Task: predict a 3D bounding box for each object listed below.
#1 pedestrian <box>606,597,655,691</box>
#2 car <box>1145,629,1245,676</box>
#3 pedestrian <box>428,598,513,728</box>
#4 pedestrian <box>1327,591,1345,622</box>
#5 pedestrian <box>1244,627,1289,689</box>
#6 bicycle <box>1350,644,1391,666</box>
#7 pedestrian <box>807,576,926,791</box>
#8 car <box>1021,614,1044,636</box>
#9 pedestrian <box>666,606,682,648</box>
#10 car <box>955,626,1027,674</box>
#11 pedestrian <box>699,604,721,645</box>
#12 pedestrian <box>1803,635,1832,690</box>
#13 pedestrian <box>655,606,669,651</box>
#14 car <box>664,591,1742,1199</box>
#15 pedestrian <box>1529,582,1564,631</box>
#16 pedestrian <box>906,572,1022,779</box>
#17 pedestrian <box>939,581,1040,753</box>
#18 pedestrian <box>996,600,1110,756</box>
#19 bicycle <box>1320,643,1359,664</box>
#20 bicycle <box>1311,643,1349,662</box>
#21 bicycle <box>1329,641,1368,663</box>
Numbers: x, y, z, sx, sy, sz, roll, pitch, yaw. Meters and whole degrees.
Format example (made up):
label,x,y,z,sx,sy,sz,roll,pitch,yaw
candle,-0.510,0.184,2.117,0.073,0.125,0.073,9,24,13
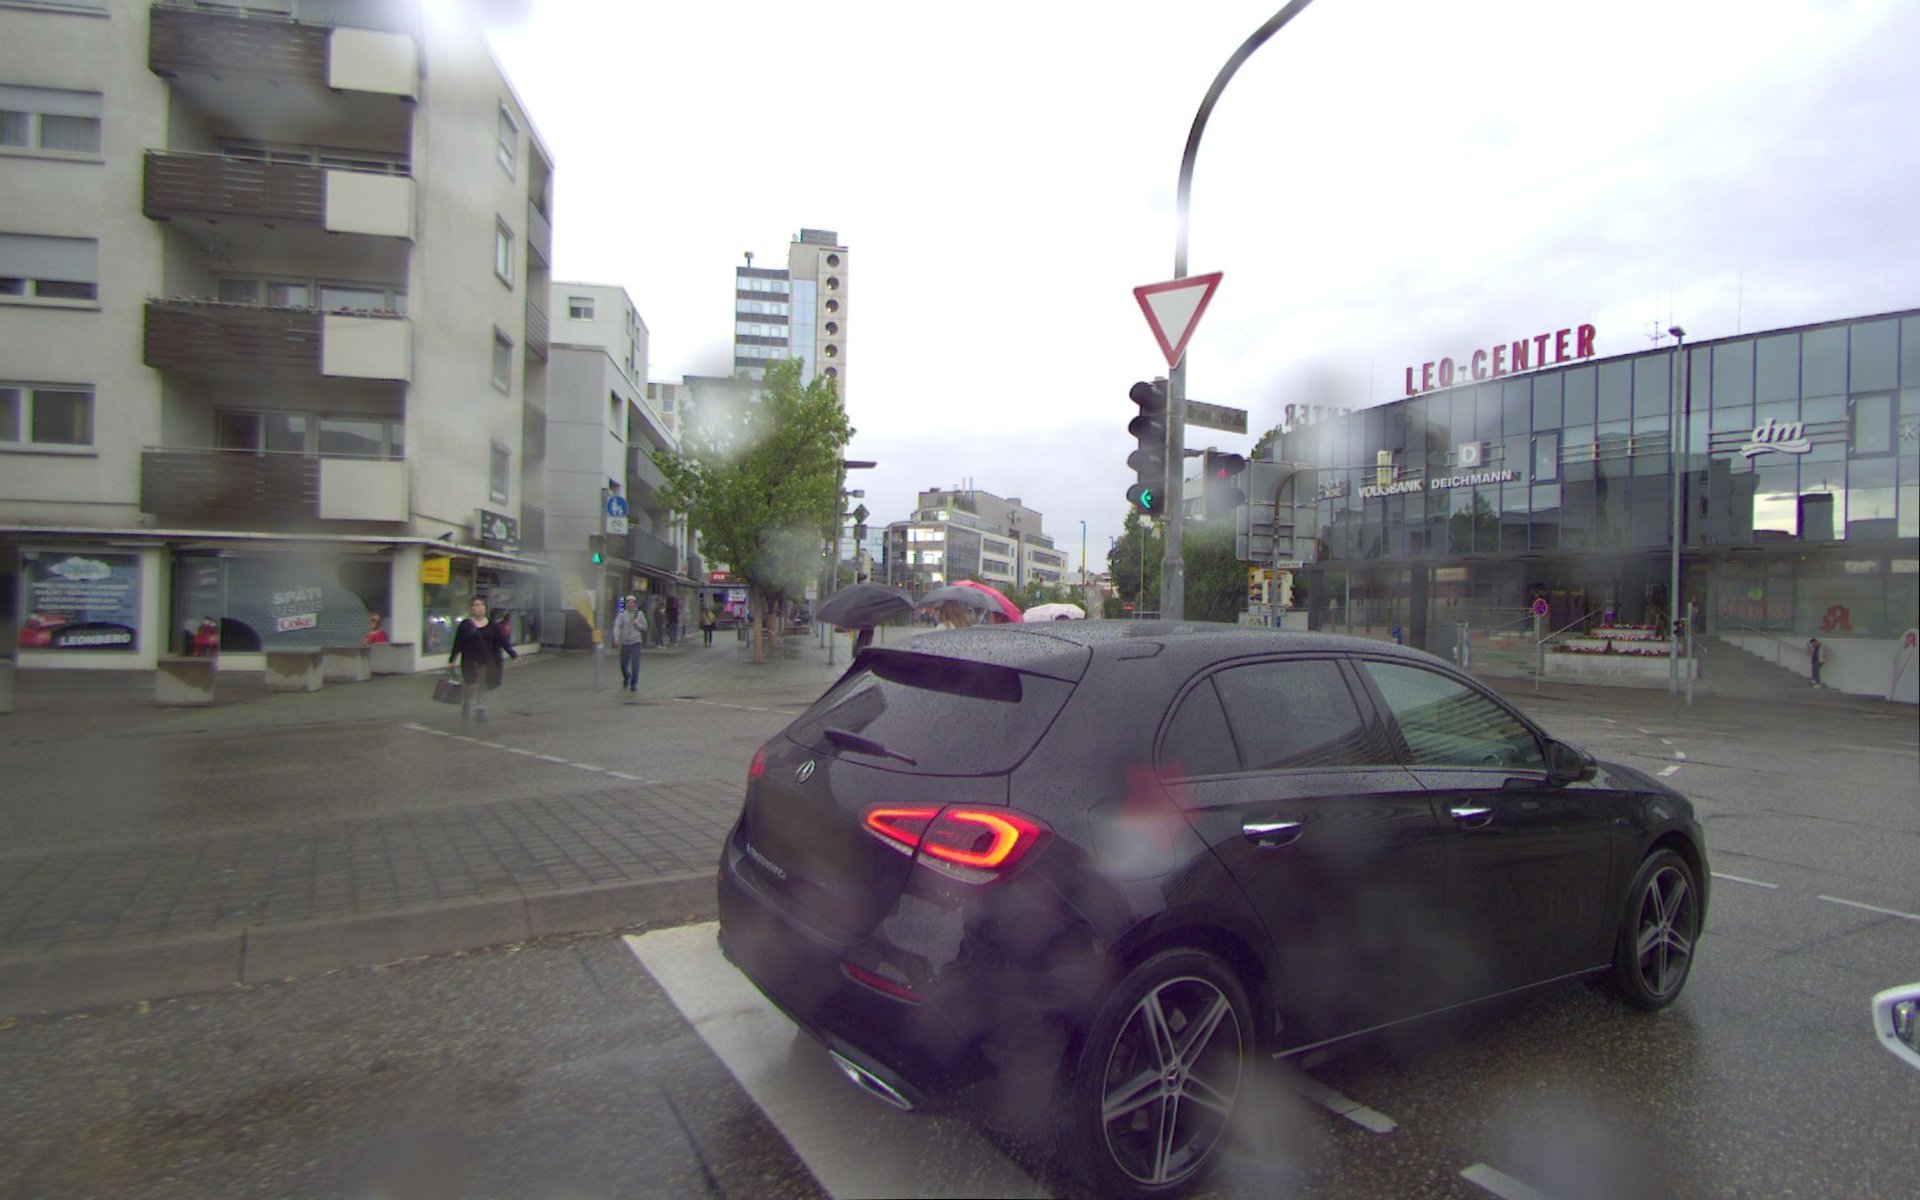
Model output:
label,x,y,z,sx,sy,sz,roll,pitch,yaw
pedestrian,-6.047,0.806,18.452,0.802,1.677,0.712,2,-1,-18
car,8.378,1.854,36.171,1.718,1.460,3.978,2,-1,-17
pedestrian,-6.276,0.798,12.923,0.901,1.606,0.654,2,-1,-24
pedestrian,21.005,0.359,56.127,0.642,1.736,0.599,2,1,-8
pedestrian,8.337,1.557,27.356,0.794,1.645,0.950,2,-1,-10
bicycle,20.244,2.693,49.568,1.823,1.036,0.630,0,-1,-13
pedestrian,-0.834,0.712,8.745,0.937,1.759,0.835,2,-1,-9
car,6.841,2.352,94.621,2.008,1.921,4.141,2,0,5
pedestrian,-12.296,1.161,43.181,0.557,1.817,0.491,1,-1,-6
car,0.966,1.655,34.322,2.082,1.432,5.145,3,-2,-2
pedestrian,-11.444,1.116,45.964,0.859,1.835,0.923,2,-1,-12
pedestrian,30.650,2.227,35.888,0.590,1.933,0.650,2,0,-39
pedestrian,-11.559,1.102,38.963,0.441,1.747,0.499,2,-1,-14
car,1.144,0.774,3.816,4.051,1.501,1.653,1,1,-34
pedestrian,25.371,0.266,43.457,0.936,2.040,0.830,2,1,-13
pedestrian,0.009,0.667,9.229,0.844,1.767,1.136,2,-1,-9
pedestrian,0.300,0.688,10.494,0.796,1.707,0.669,2,-2,-27
pedestrian,1.063,0.868,11.579,0.906,1.699,0.930,2,-1,-32
bicycle,19.598,2.747,51.862,1.823,1.047,0.627,-1,-1,-13
bicycle,19.348,2.742,52.520,1.821,0.964,0.535,-1,1,-10
bicycle,19.770,2.652,51.126,1.823,1.056,0.646,-1,-1,-13
